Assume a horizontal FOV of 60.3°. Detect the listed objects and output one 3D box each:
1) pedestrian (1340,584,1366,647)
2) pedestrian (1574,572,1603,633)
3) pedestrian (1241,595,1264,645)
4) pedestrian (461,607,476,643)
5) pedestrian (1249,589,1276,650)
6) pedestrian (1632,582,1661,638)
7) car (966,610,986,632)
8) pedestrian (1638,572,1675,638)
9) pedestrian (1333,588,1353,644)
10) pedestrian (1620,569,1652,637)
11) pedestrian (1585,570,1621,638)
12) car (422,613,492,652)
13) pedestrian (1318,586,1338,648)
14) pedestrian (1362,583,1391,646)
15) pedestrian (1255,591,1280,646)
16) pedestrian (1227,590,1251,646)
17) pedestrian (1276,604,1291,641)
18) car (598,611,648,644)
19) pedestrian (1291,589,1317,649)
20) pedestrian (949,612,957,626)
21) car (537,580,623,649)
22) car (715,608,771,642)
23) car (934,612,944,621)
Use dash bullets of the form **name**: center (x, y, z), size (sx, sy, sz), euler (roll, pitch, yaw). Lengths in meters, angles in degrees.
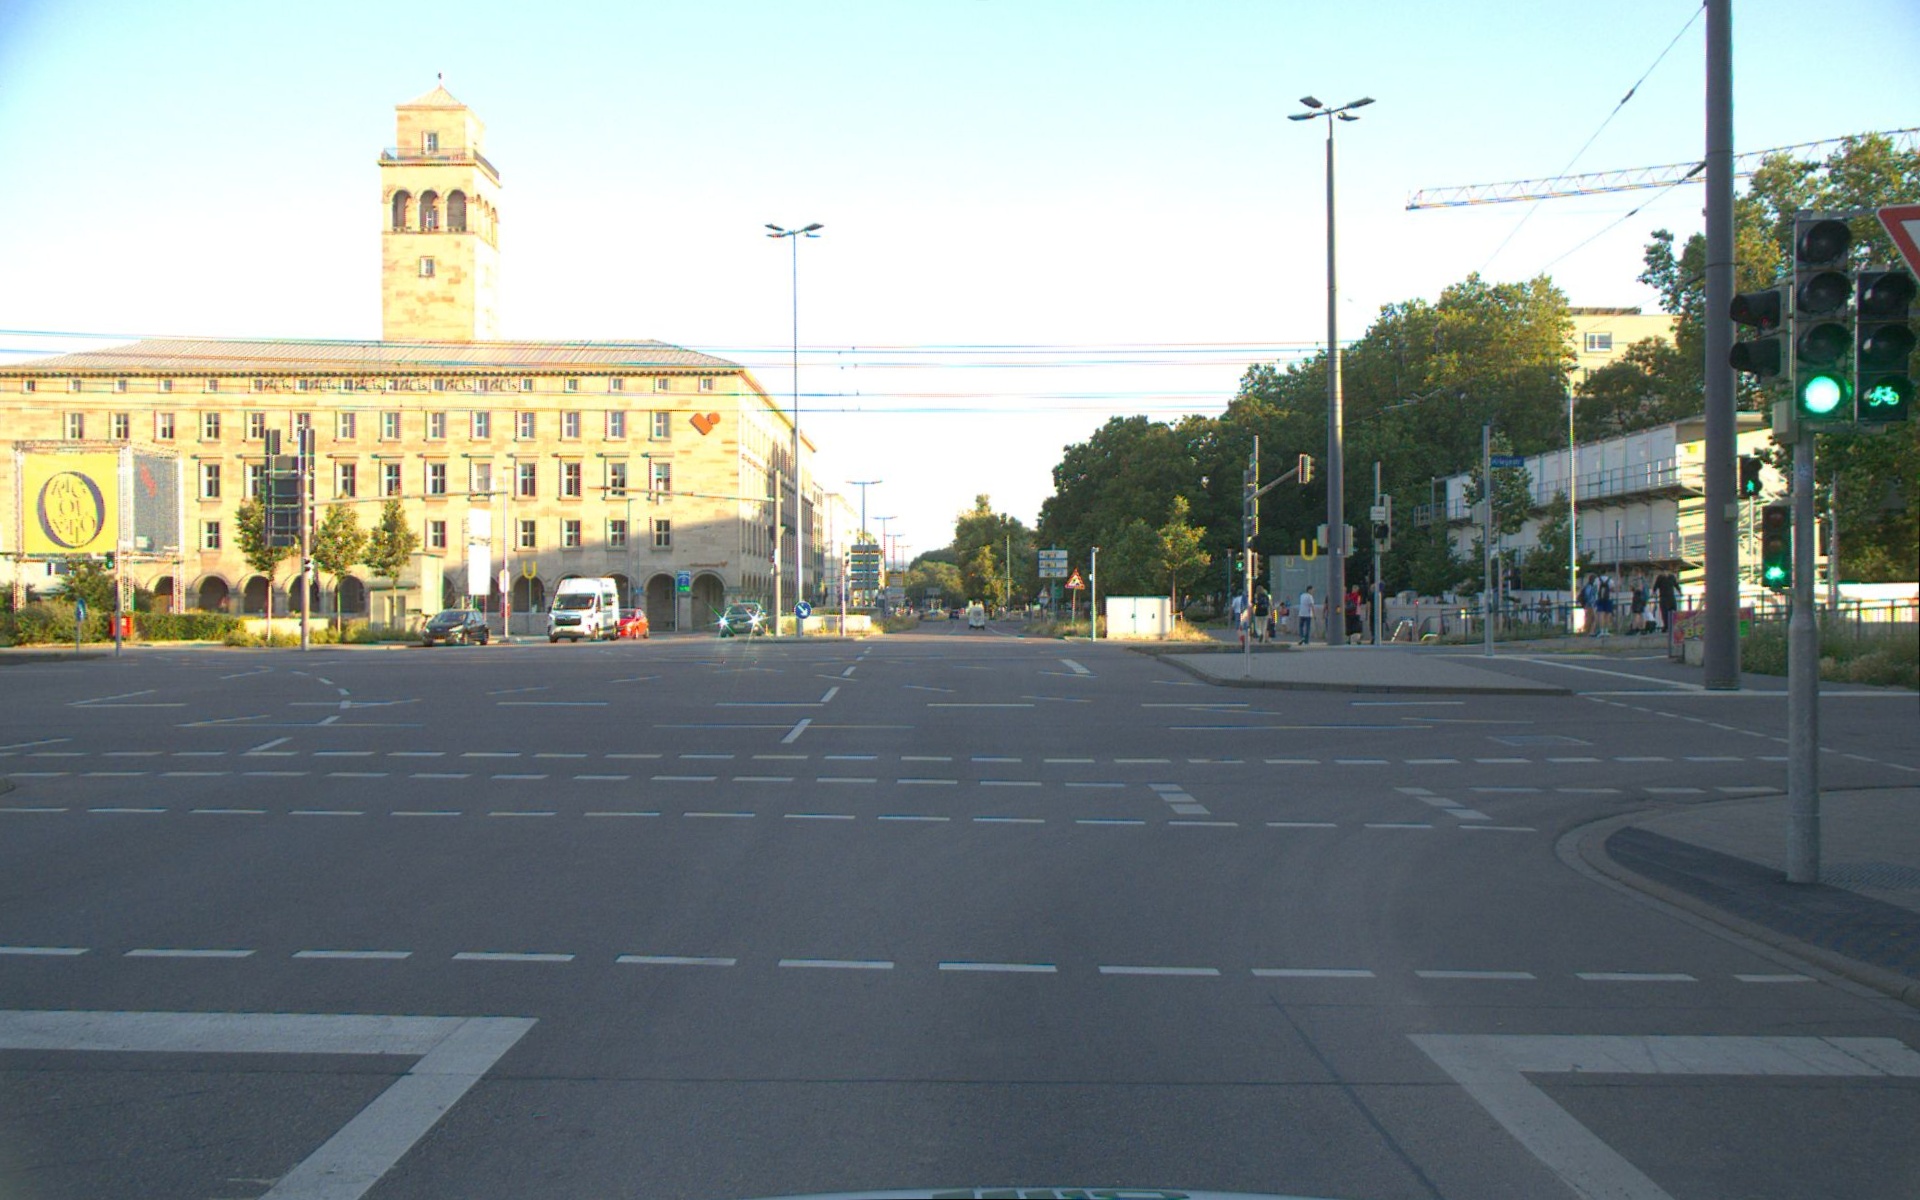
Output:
- **pedestrian**: center (11.211, 0.434, 47.196), size (0.688, 1.765, 0.848), euler (0, 0, 15)
- **pedestrian**: center (16.843, 0.078, 44.328), size (0.559, 1.620, 0.536), euler (-1, 0, -1)
- **pedestrian**: center (10.571, 0.723, 59.743), size (0.665, 1.788, 0.902), euler (0, 0, 20)
- **pedestrian**: center (-24.318, 1.256, 81.887), size (0.609, 1.774, 0.459), euler (1, -1, -6)
- **pedestrian**: center (8.779, 0.566, 48.016), size (0.696, 1.755, 0.915), euler (0, 0, 6)
- **pedestrian**: center (18.172, 0.257, 43.798), size (0.662, 1.466, 0.714), euler (-1, 0, 21)
- **car**: center (1.290, 1.672, 133.344), size (1.454, 1.725, 2.972), euler (-1, 0, -3)
- **pedestrian**: center (18.888, 0.132, 44.888), size (0.696, 1.755, 0.668), euler (0, 0, -3)
- **pedestrian**: center (11.643, 0.488, 50.287), size (0.560, 1.708, 0.639), euler (0, 0, 13)
- **pedestrian**: center (17.601, 0.085, 43.072), size (0.696, 1.755, 0.669), euler (-1, 0, 16)
- **pedestrian**: center (16.836, 0.095, 43.313), size (0.700, 1.755, 0.664), euler (-1, 0, 41)
- **car**: center (-20.984, 1.342, 69.194), size (1.786, 1.492, 4.156), euler (-1, 0, -2)
- **pedestrian**: center (10.853, 0.502, 48.769), size (0.560, 1.823, 0.639), euler (0, 0, 13)
- **pedestrian**: center (12.195, 0.415, 48.423), size (0.788, 1.823, 0.801), euler (0, 0, 12)
- **pedestrian**: center (9.789, 0.582, 52.628), size (0.696, 1.755, 0.669), euler (0, 0, 16)
- **pedestrian**: center (8.892, 0.569, 52.720), size (0.695, 1.755, 0.669), euler (0, 0, 13)
- **pedestrian**: center (16.920, 1.172, 86.470), size (0.652, 1.875, 0.713), euler (-1, 0, 4)
- **car**: center (-16.251, 1.297, 79.931), size (1.703, 1.513, 3.998), euler (-1, 0, -2)
- **pedestrian**: center (10.318, 0.562, 49.596), size (0.695, 1.755, 0.916), euler (0, 0, 9)
- **pedestrian**: center (-0.878, 2.214, 193.764), size (0.888, 1.700, 1.306), euler (-1, 0, -2)
- **car**: center (-16.349, 0.619, 71.498), size (2.232, 2.824, 6.084), euler (-1, 0, 1)
- **car**: center (-9.338, 1.045, 71.483), size (1.785, 1.365, 4.001), euler (-1, 0, 1)
- **car**: center (-2.959, 2.294, 234.152), size (1.341, 1.256, 3.045), euler (-1, 0, 1)
